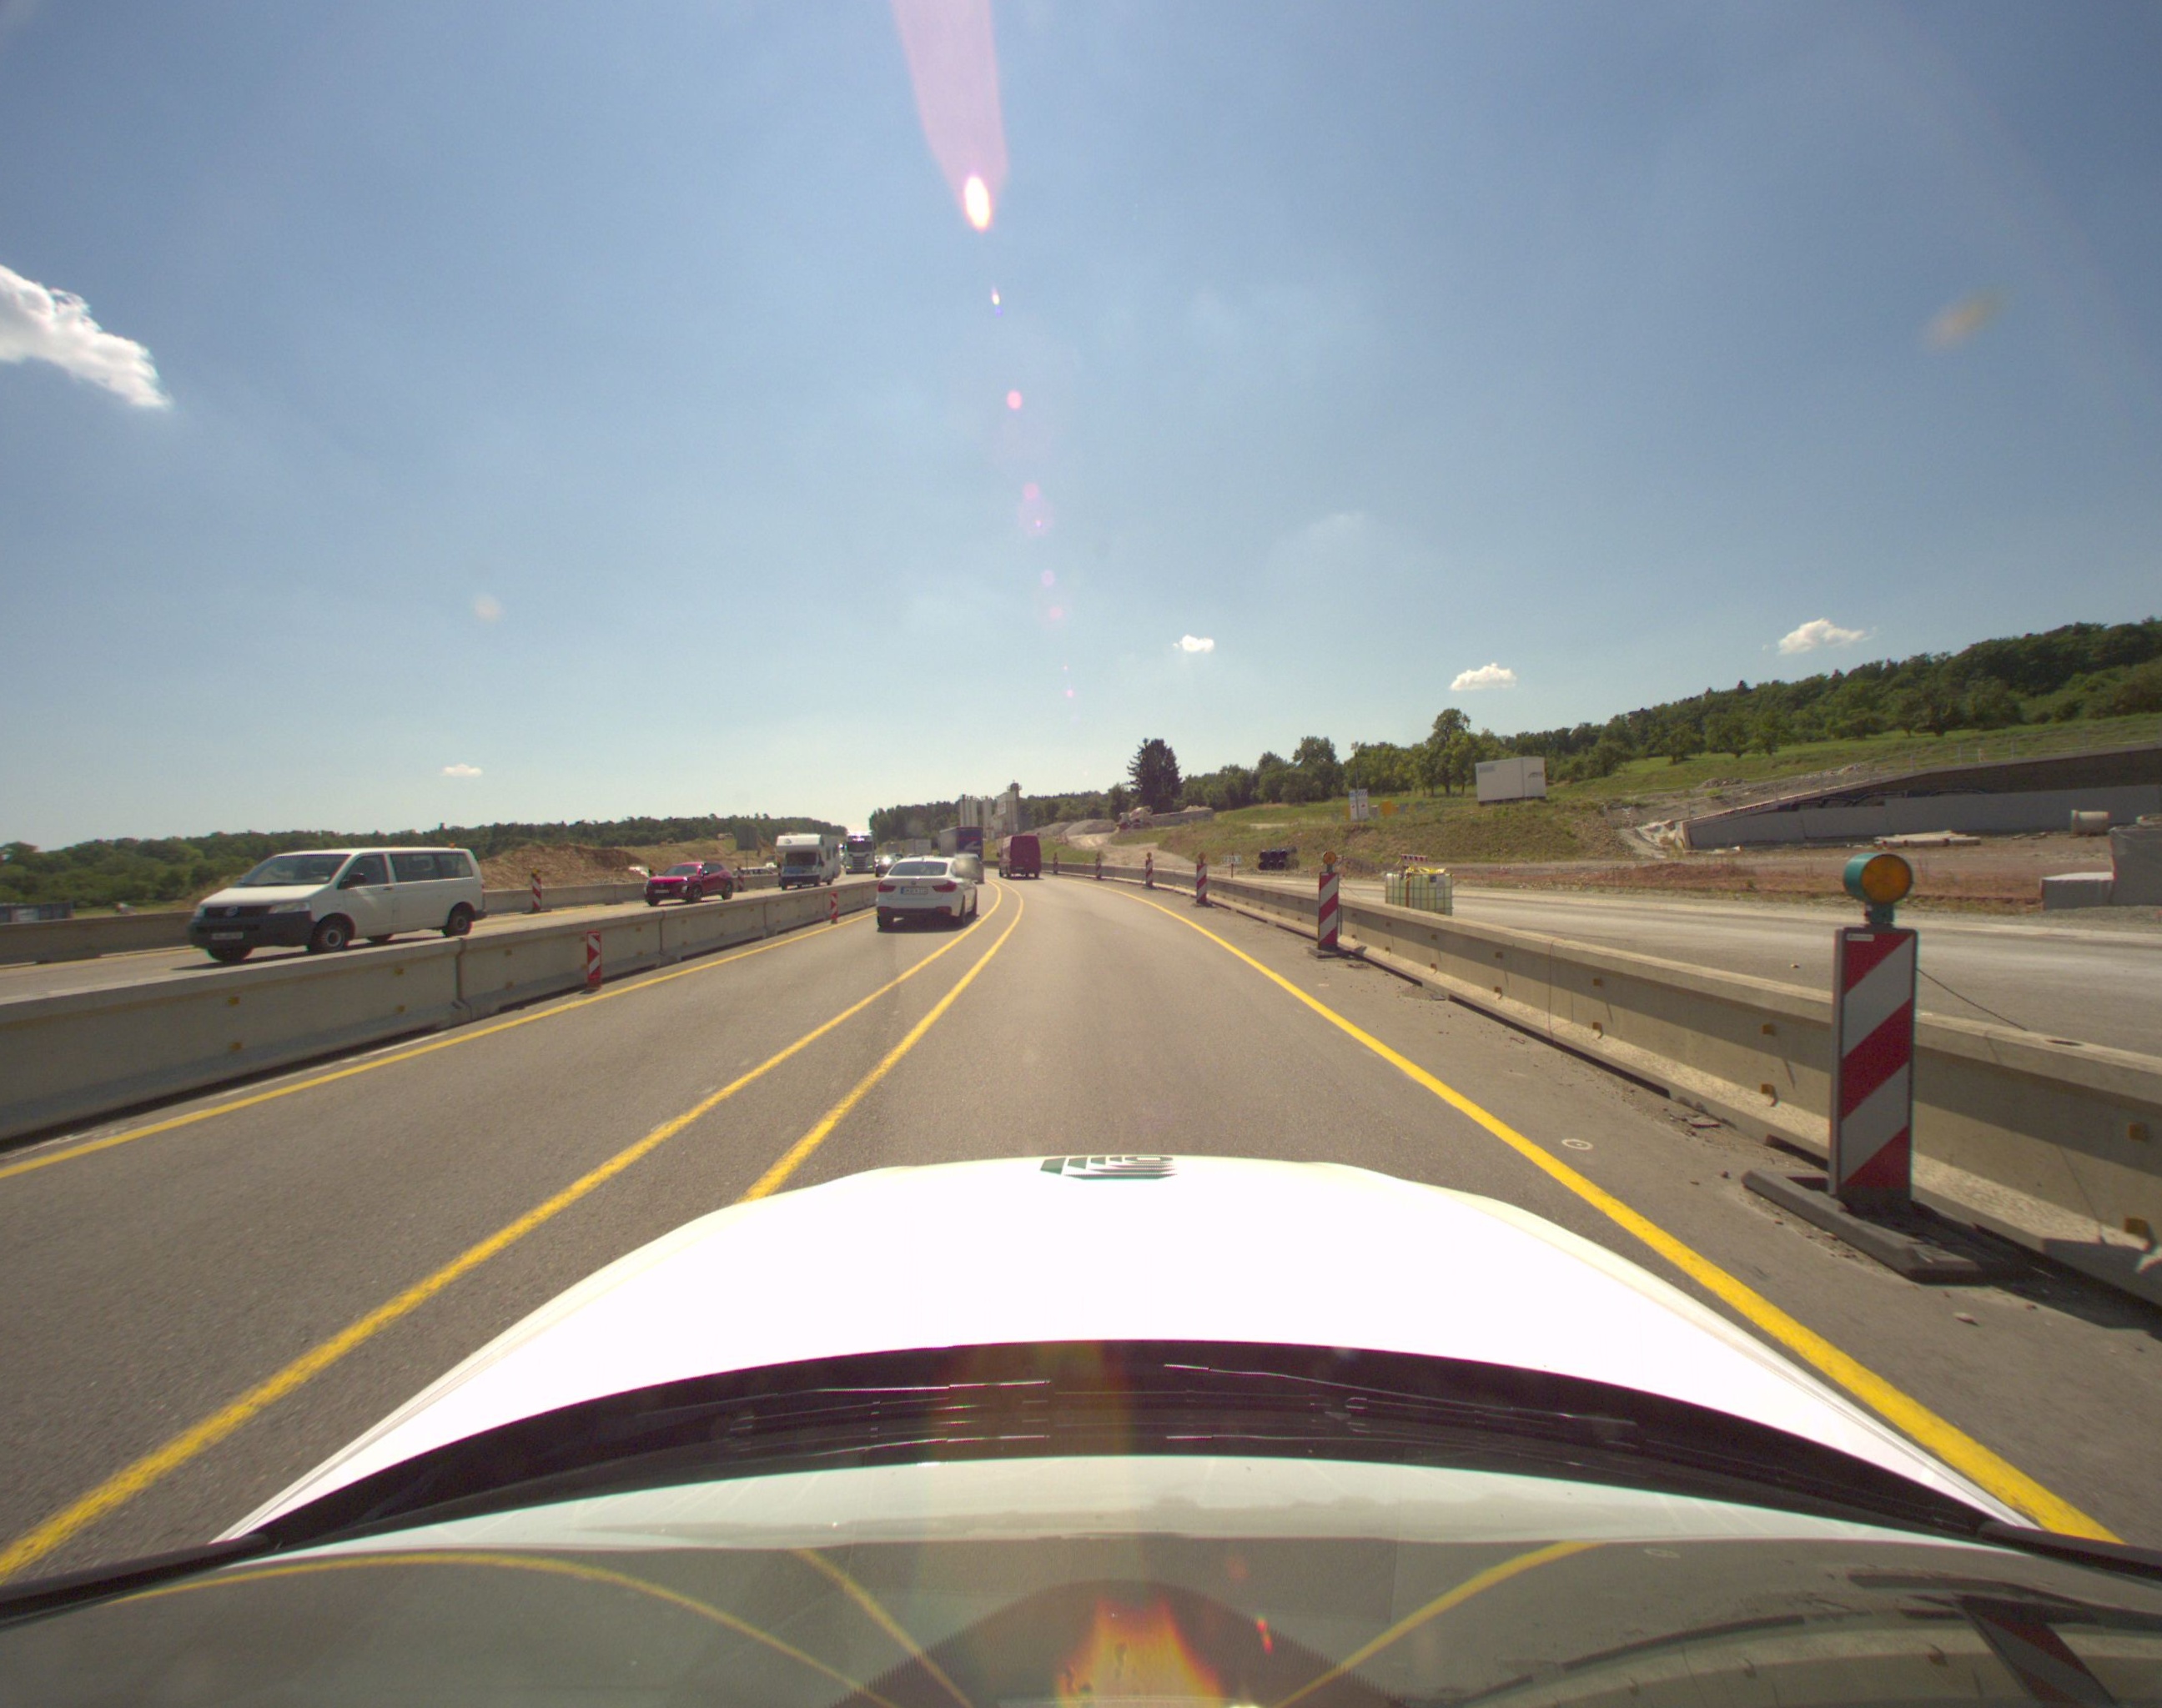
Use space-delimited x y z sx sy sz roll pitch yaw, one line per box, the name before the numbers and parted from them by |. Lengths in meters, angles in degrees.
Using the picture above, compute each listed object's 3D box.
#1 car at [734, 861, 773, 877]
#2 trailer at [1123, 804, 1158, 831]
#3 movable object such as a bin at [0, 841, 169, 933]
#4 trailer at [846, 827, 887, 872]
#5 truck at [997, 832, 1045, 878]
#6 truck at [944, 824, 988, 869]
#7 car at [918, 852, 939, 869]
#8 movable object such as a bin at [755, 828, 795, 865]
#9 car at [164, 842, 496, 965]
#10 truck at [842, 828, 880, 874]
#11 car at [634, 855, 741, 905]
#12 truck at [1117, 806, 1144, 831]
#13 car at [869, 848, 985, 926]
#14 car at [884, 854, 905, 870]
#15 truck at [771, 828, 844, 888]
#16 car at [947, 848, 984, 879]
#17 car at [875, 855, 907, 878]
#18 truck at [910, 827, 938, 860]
car | -32.522 1.487 80.885 3.220 1.455 1.528 -3 1 -43
trailer | 9.986 -6.123 137.840 2.771 4.114 6.687 -3 1 -26
movable object such as a bin | -37.375 1.118 30.179 1.983 3.140 4.286 -2 1 7
trailer | -21.875 -0.483 83.724 2.760 4.114 13.930 -3 1 -10
truck | -3.865 0.052 51.332 2.113 2.633 6.459 -3 1 -11
truck | -11.605 -0.743 81.646 3.022 4.152 8.226 -3 1 -16
car | -15.733 0.678 83.987 1.805 1.579 3.981 -3 1 -14
movable object such as a bin | -67.048 -1.749 178.509 7.655 7.713 3.426 -3 0 -17
car | -14.143 0.792 15.885 1.860 1.953 4.891 -3 1 -1
truck | -20.611 -0.272 76.599 2.701 4.061 5.483 -3 1 -9
car | -14.772 0.933 30.843 1.713 1.627 4.339 -3 1 2
truck | 8.544 -6.098 140.812 2.760 4.095 4.065 -3 1 -26
car | -3.409 0.650 19.002 1.790 1.534 5.071 0 1 -1
car | -18.085 0.766 79.146 1.668 1.475 3.956 -3 1 -10
truck | -15.612 0.182 47.044 2.439 3.071 7.230 -3 1 -7
car | -6.276 0.506 44.440 1.793 1.534 3.923 -3 1 -6
car | -14.560 0.913 62.611 1.657 1.605 4.388 -3 1 -5
truck | -23.988 -1.590 123.996 3.687 4.691 9.710 -3 1 -13
